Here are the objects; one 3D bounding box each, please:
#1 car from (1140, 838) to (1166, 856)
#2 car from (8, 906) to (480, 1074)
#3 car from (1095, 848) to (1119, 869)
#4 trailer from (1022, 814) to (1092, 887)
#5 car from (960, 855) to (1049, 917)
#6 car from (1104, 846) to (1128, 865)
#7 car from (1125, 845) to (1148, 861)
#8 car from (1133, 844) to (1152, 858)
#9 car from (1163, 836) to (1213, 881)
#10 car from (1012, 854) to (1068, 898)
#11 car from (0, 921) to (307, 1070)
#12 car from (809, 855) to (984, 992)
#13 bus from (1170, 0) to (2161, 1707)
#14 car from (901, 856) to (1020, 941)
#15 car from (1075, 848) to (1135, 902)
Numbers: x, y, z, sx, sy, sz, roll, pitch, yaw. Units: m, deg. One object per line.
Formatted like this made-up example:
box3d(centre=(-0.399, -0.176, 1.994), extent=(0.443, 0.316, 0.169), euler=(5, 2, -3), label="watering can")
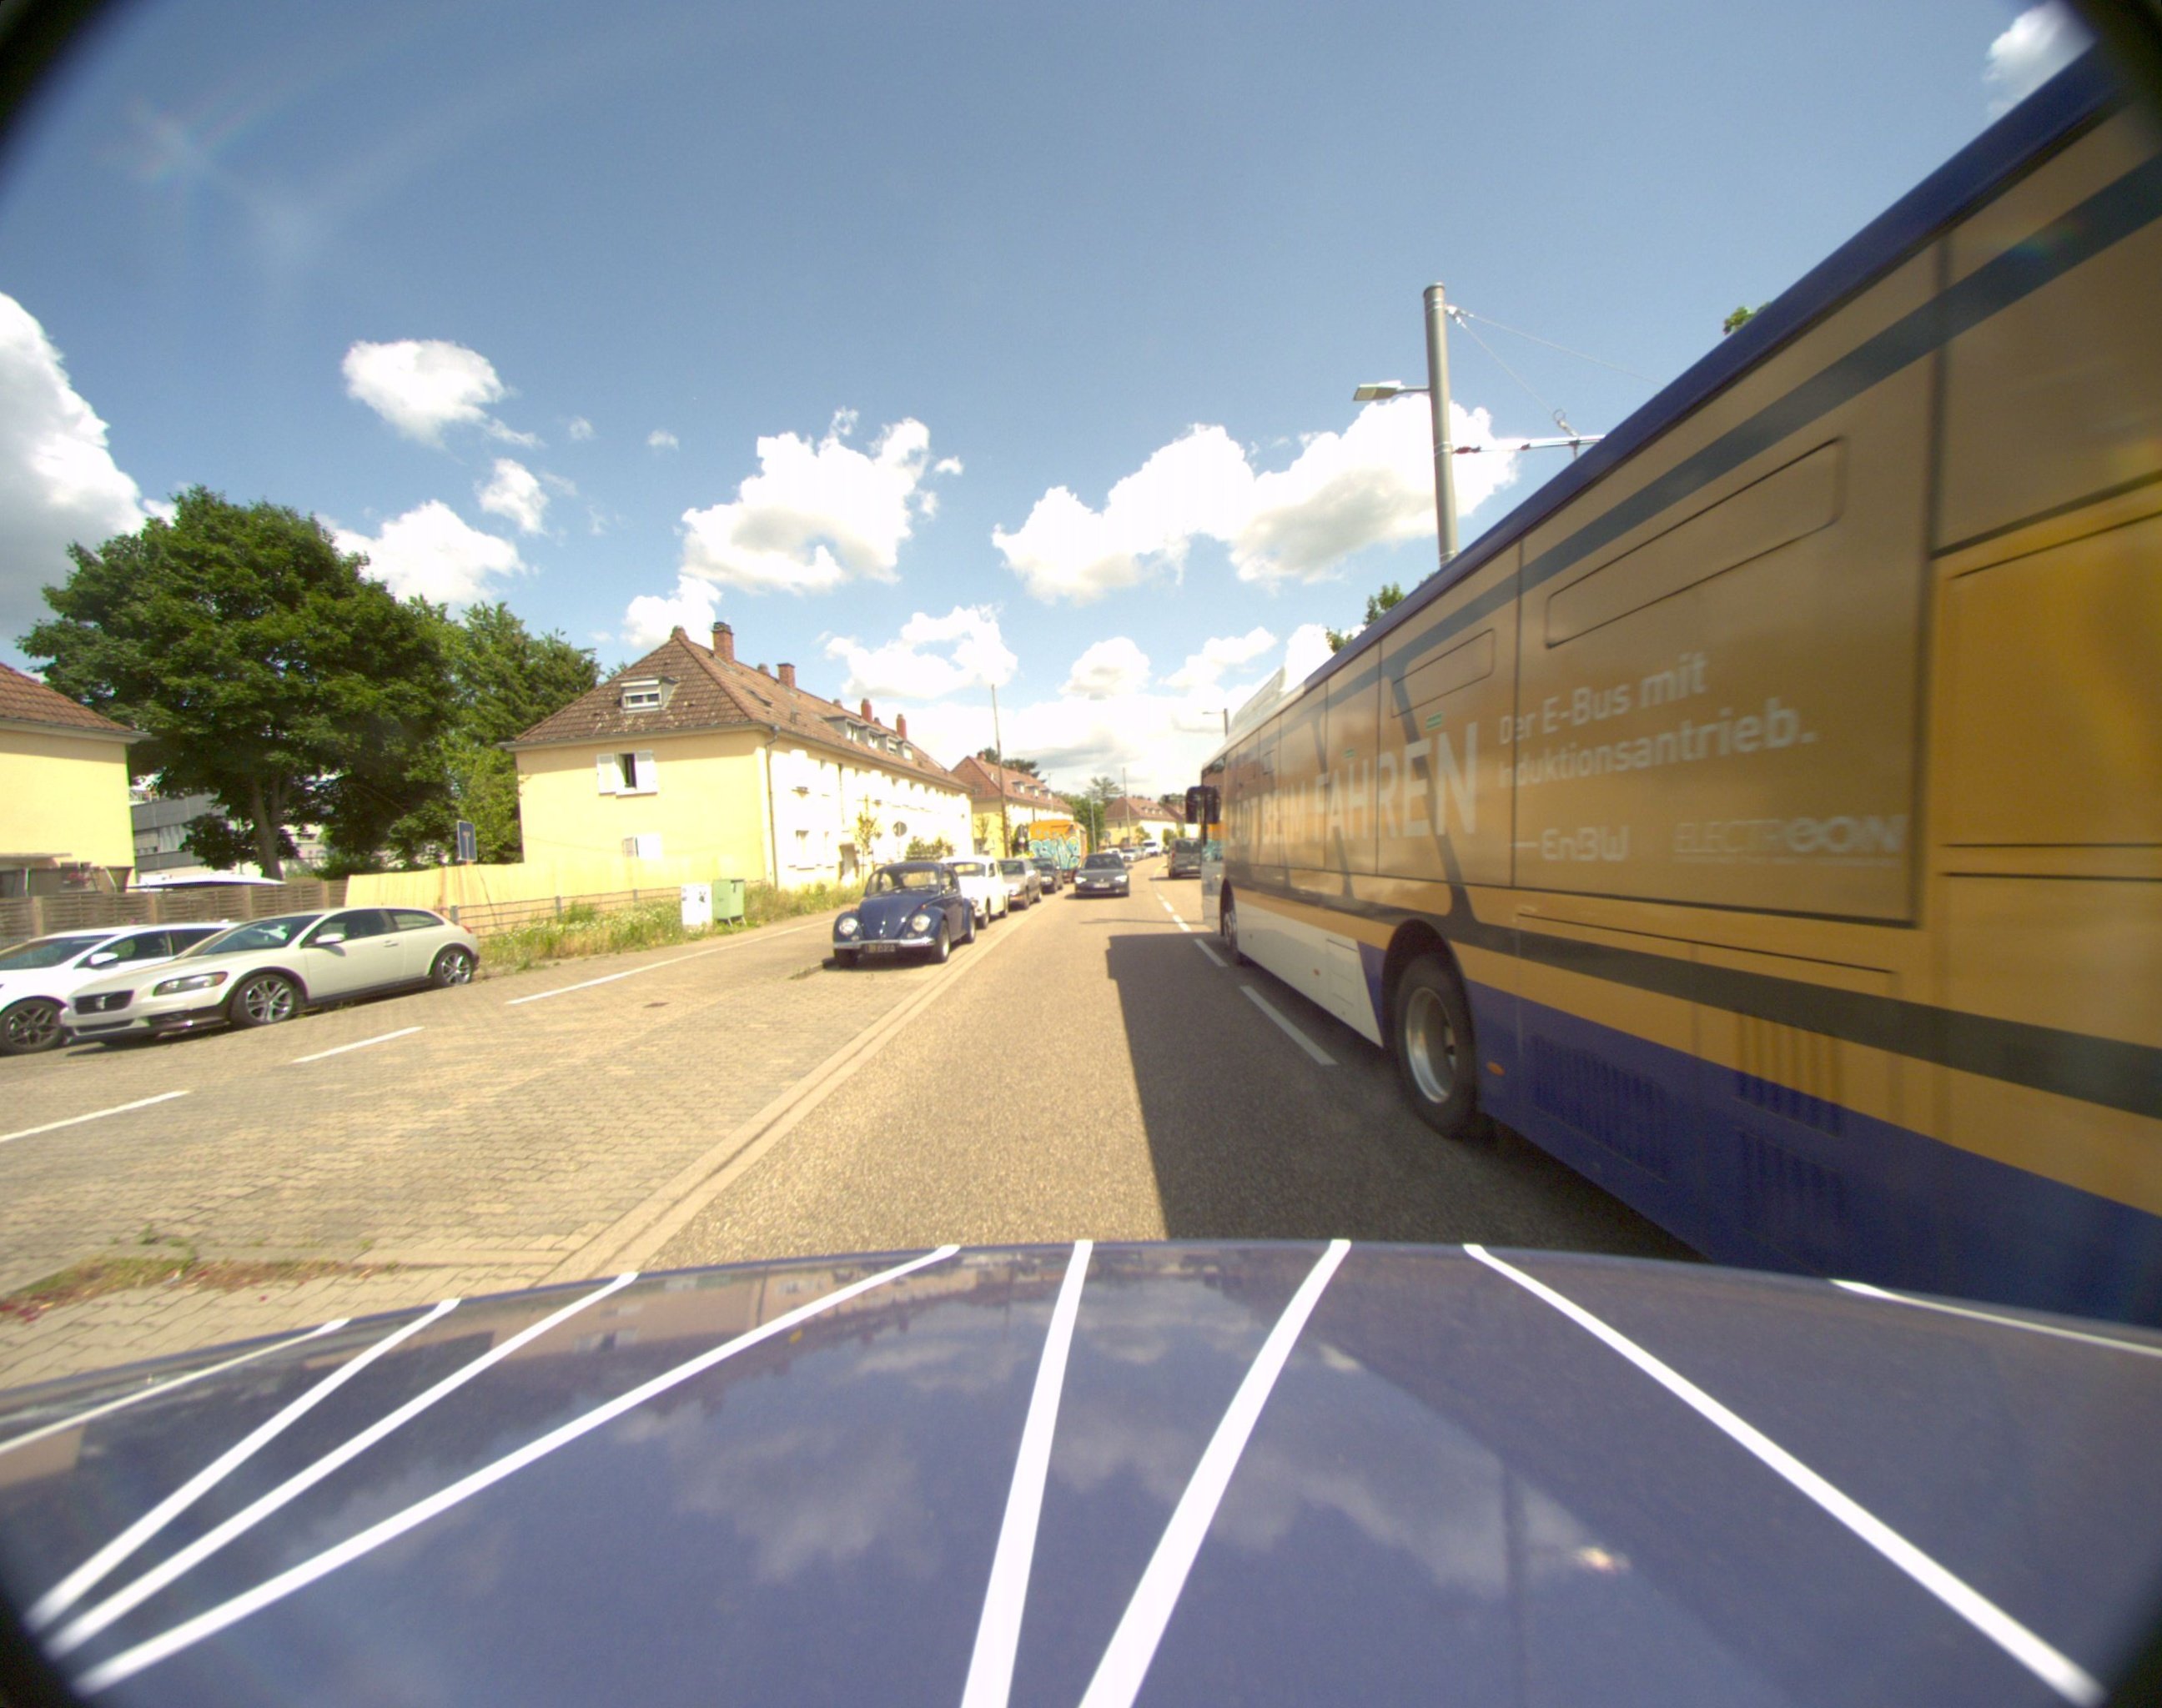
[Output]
box3d(centre=(9.314, -0.941, 97.961), extent=(2.280, 2.170, 6.373), euler=(-3, 1, 15), label="car")
box3d(centre=(-10.390, 1.568, 10.017), extent=(1.640, 1.366, 4.087), euler=(-3, 0, -1), label="car")
box3d(centre=(2.092, 0.342, 60.066), extent=(1.466, 1.493, 4.111), euler=(-3, 1, 8), label="car")
box3d(centre=(-1.088, -0.204, 37.788), extent=(2.696, 3.208, 5.083), euler=(-4, 1, 5), label="trailer")
box3d(centre=(-2.102, 0.848, 22.174), extent=(1.710, 1.441, 4.836), euler=(-4, 0, 4), label="car")
box3d(centre=(3.092, 0.129, 66.361), extent=(1.530, 1.472, 3.811), euler=(-3, 1, 10), label="car")
box3d(centre=(5.696, -0.100, 77.185), extent=(1.753, 1.489, 4.388), euler=(-3, 1, 11), label="car")
box3d(centre=(7.233, -0.356, 88.727), extent=(1.710, 1.495, 4.258), euler=(-3, 1, 11), label="car")
box3d(centre=(5.160, 0.167, 37.258), extent=(1.960, 1.955, 5.293), euler=(-3, 0, 4), label="car")
box3d(centre=(-1.523, 0.813, 29.810), extent=(1.581, 1.441, 4.454), euler=(-4, 0, 4), label="car")
box3d(centre=(-13.036, 1.794, 9.904), extent=(1.640, 1.366, 4.087), euler=(-3, 0, -1), label="car")
box3d(centre=(-2.656, 0.904, 11.950), extent=(1.552, 1.631, 4.246), euler=(-4, 1, 1), label="car")
box3d(centre=(2.860, -0.180, 6.450), extent=(2.643, 3.392, 12.247), euler=(-2, 0, 0), label="bus")
box3d(centre=(-2.539, 0.878, 17.093), extent=(1.581, 1.504, 4.460), euler=(-4, 0, 4), label="car")
box3d(centre=(0.906, 0.634, 25.490), extent=(1.742, 1.513, 4.702), euler=(-2, 1, 5), label="car")
